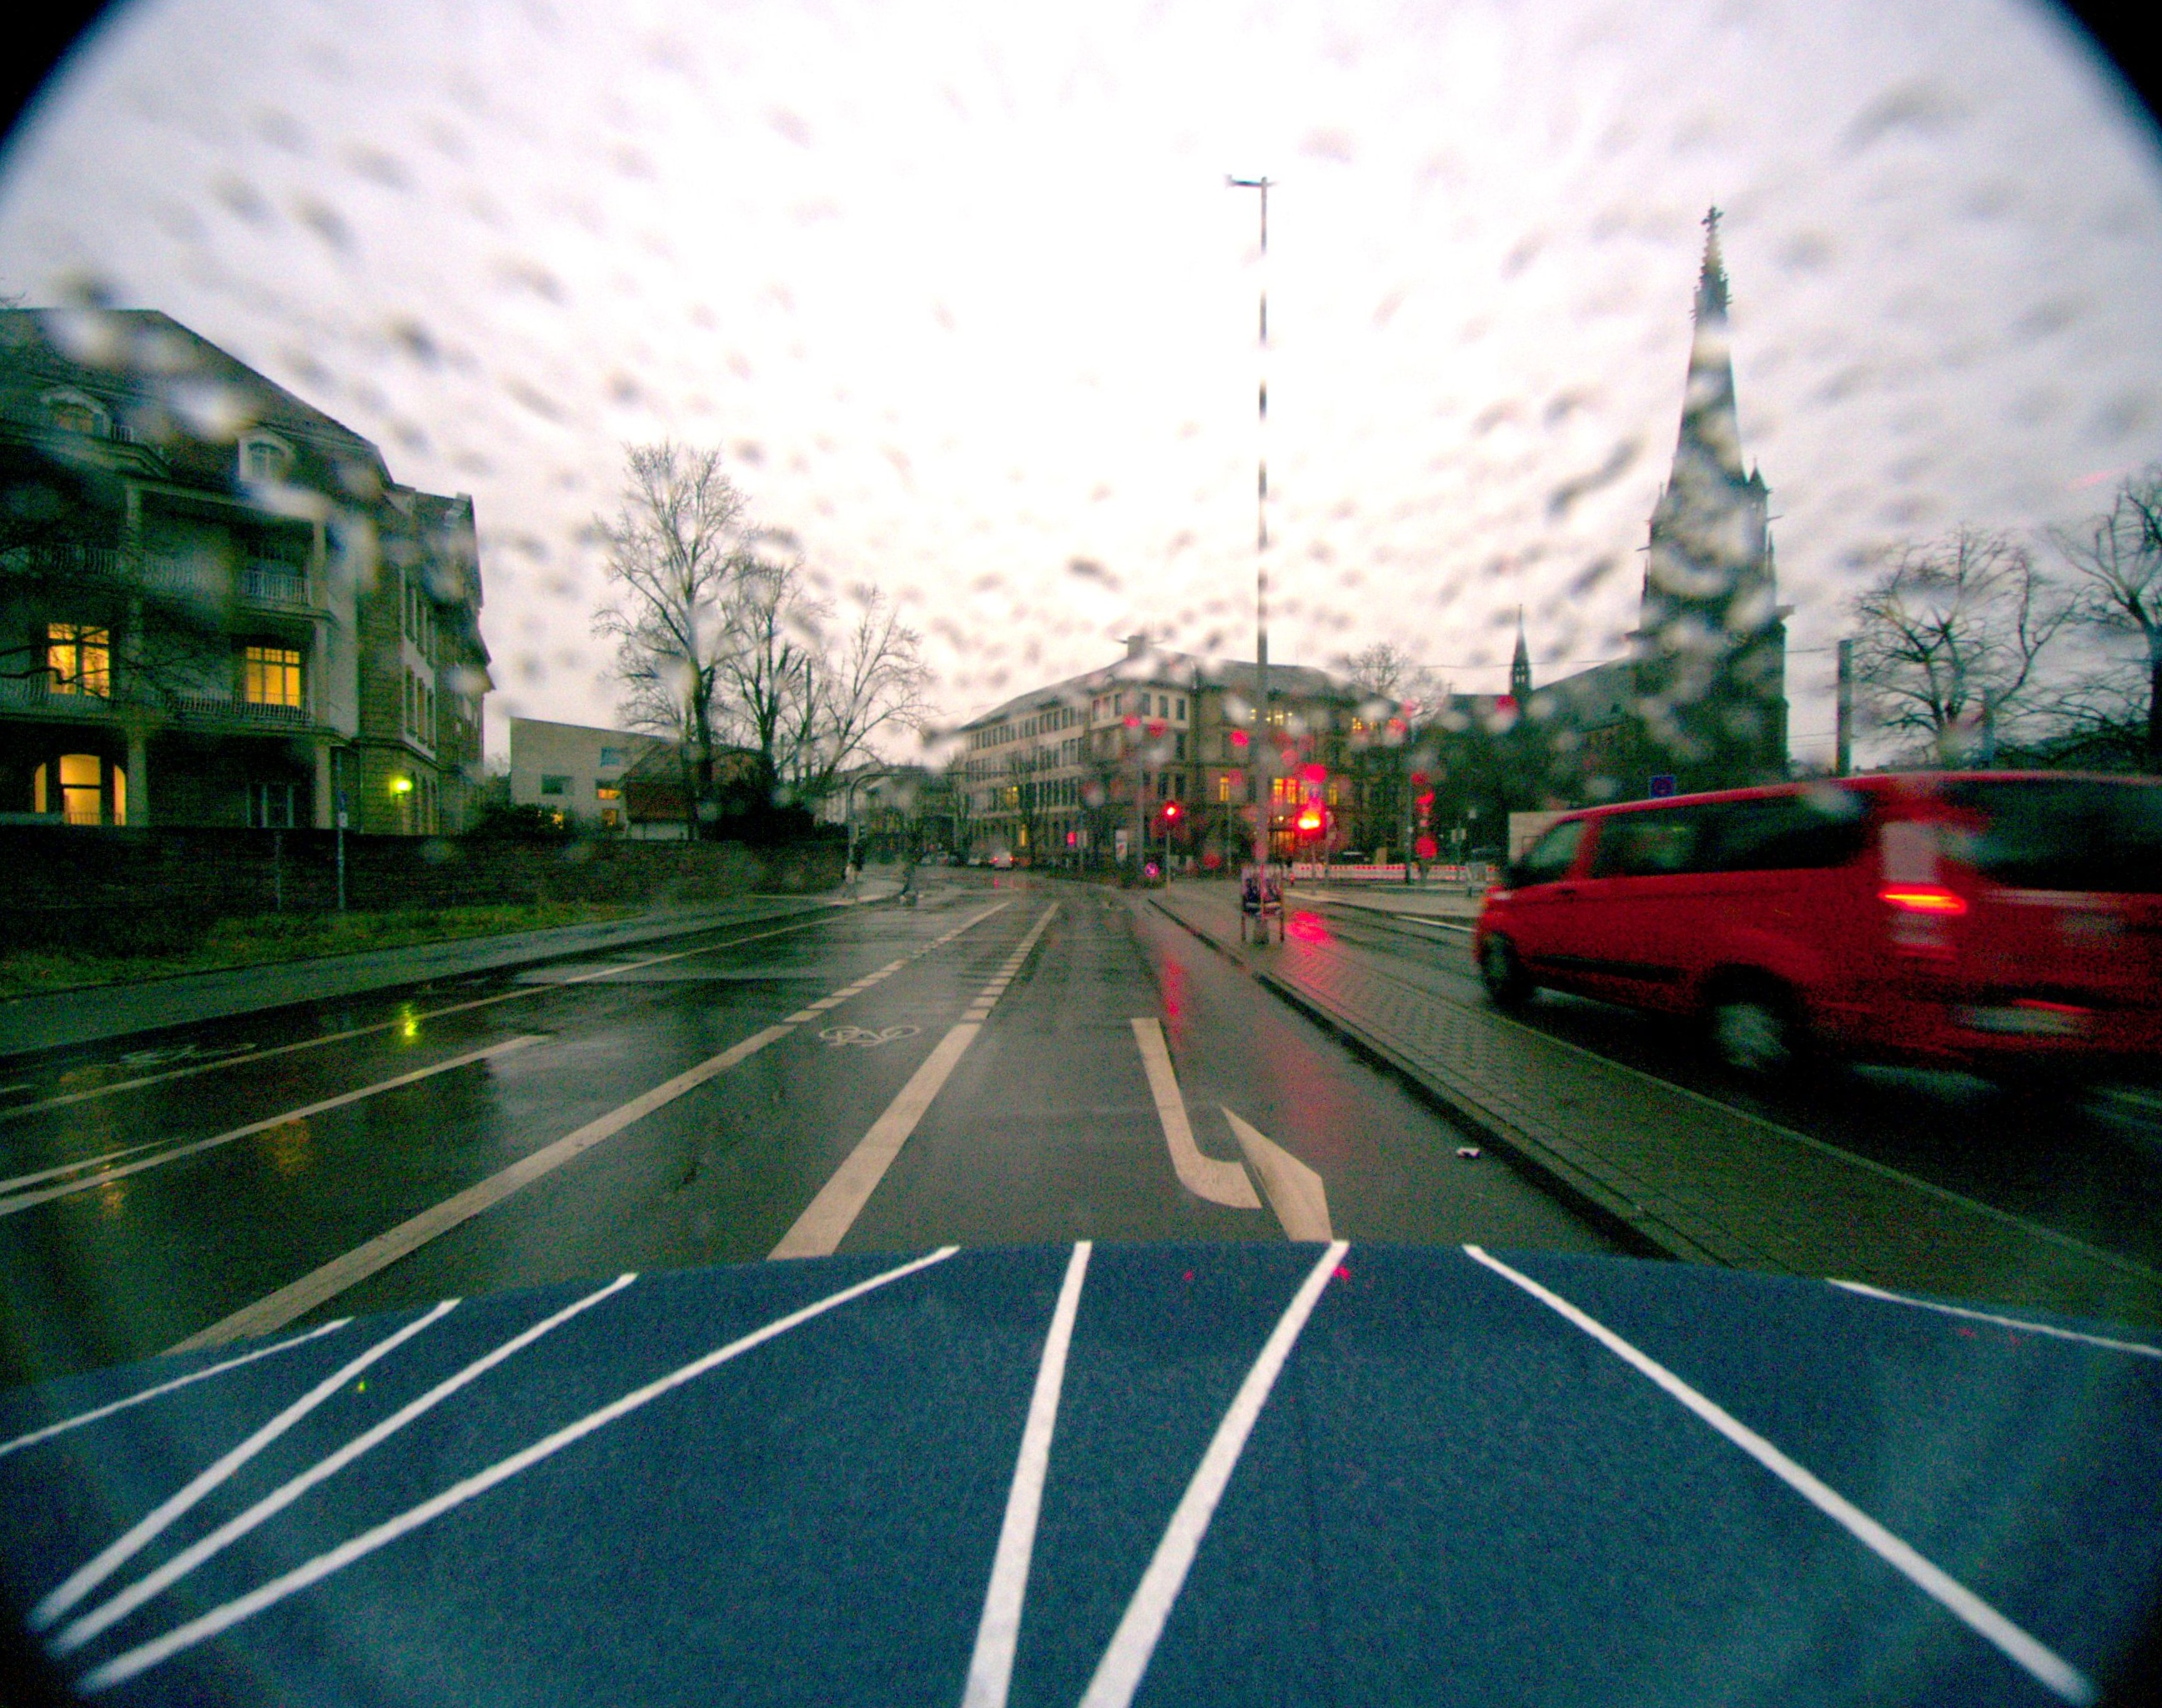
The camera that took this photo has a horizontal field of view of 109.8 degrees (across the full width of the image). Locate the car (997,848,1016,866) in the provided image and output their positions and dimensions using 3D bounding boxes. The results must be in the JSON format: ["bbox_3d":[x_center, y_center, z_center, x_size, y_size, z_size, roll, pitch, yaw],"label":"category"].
[{"bbox_3d":[-8.102,0.354,82.366,1.884,1.835,3.997,-2,1,-8],"label":"car"}]

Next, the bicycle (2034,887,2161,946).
[{"bbox_3d":[19.689,1.168,14.428,0.475,0.980,1.921,-2,2,-30],"label":"bicycle"}]

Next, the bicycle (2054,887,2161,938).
[{"bbox_3d":[20.844,1.160,15.017,0.475,0.905,1.921,-2,2,-30],"label":"bicycle"}]

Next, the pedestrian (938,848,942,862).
[{"bbox_3d":[-21.266,0.165,114.477,0.476,2.002,0.546,0,1,-37],"label":"pedestrian"}]

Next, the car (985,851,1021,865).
[{"bbox_3d":[-9.288,0.480,90.534,1.797,1.541,4.007,-1,1,45],"label":"car"}]

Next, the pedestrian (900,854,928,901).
[{"bbox_3d":[-6.910,0.967,31.408,0.999,1.890,0.674,1,1,-1],"label":"pedestrian"}]

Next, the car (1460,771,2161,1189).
[{"bbox_3d":[5.186,0.629,6.080,1.929,2.058,4.643,1,0,0],"label":"car"}]

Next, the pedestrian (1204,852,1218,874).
[{"bbox_3d":[10.946,0.775,63.935,0.675,1.806,0.895,0,2,-42],"label":"pedestrian"}]

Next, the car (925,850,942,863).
[{"bbox_3d":[-20.745,0.371,106.844,2.000,1.660,3.997,-2,1,-7],"label":"car"}]

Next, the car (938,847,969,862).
[{"bbox_3d":[-17.005,0.075,101.469,2.043,1.889,4.007,-2,1,28],"label":"car"}]

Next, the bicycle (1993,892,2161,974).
[{"bbox_3d":[15.495,1.180,11.611,0.475,1.064,1.921,-2,2,-30],"label":"bicycle"}]

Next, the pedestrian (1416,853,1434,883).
[{"bbox_3d":[19.637,0.793,43.357,0.771,1.651,1.210,-1,1,31],"label":"pedestrian"}]

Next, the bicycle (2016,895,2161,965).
[{"bbox_3d":[16.614,1.213,12.216,0.475,0.980,1.921,-2,2,-30],"label":"bicycle"}]

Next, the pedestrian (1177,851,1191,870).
[{"bbox_3d":[9.657,0.603,71.088,0.829,1.714,0.926,0,0,-37],"label":"pedestrian"}]

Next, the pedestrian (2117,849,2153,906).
[{"bbox_3d":[31.044,0.692,22.388,0.541,1.642,0.562,-3,2,-41],"label":"pedestrian"}]

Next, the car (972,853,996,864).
[{"bbox_3d":[-12.143,0.574,95.306,1.706,1.298,3.647,-2,1,16],"label":"car"}]

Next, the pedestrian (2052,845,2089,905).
[{"bbox_3d":[30.232,0.642,23.216,0.673,1.785,0.626,-3,2,-41],"label":"pedestrian"}]

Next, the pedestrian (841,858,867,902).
[{"bbox_3d":[-8.964,1.009,29.998,0.798,1.713,0.674,1,1,0],"label":"pedestrian"}]

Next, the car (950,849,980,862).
[{"bbox_3d":[-15.100,0.199,99.404,1.797,1.541,4.007,-2,1,28],"label":"car"}]

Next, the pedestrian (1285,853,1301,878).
[{"bbox_3d":[16.240,0.846,58.271,0.675,1.890,0.971,0,2,-42],"label":"pedestrian"}]

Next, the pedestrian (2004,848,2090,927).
[{"bbox_3d":[22.335,0.752,17.577,1.013,1.754,1.065,1,0,-30],"label":"pedestrian"}]
